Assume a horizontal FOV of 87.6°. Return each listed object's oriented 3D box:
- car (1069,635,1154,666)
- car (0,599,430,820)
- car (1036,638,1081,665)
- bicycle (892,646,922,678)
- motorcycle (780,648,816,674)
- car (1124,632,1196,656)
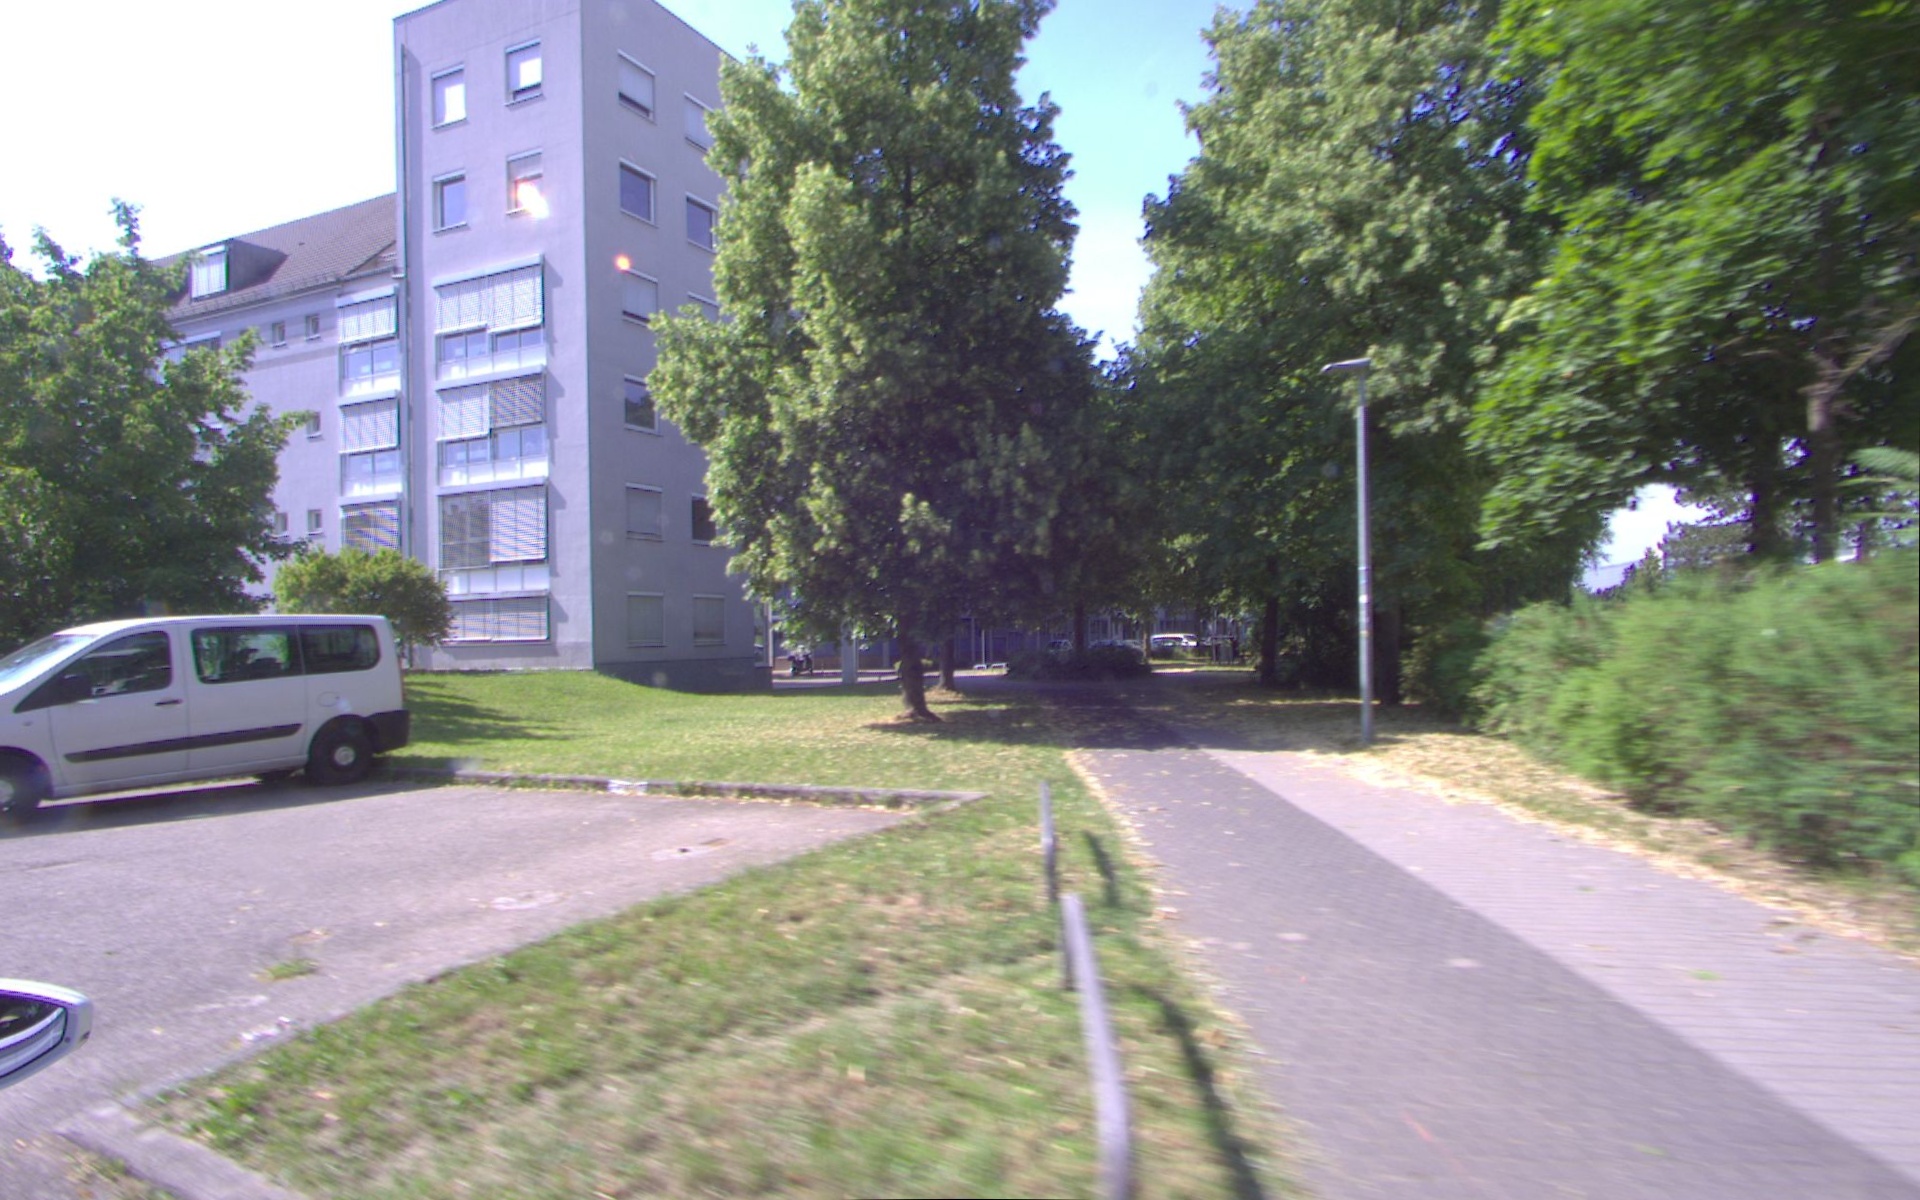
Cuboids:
[{"bbox_3d":[8.571,2.825,56.651,4.306,1.661,1.990,-1,0,32],"label":"car"},{"bbox_3d":[-8.620,1.029,10.650,1.971,1.957,5.018,-2,-2,30],"label":"car"},{"bbox_3d":[6.640,3.404,67.059,1.831,1.617,3.988,-1,-1,24],"label":"car"},{"bbox_3d":[-1.829,2.143,34.911,0.388,1.063,1.444,-1,-2,27],"label":"bicycle"},{"bbox_3d":[-8.311,3.129,51.426,0.621,1.262,2.053,-1,-2,30],"label":"motorcycle"},{"bbox_3d":[13.513,2.971,67.707,4.489,1.567,1.764,-2,-2,35],"label":"car"}]
